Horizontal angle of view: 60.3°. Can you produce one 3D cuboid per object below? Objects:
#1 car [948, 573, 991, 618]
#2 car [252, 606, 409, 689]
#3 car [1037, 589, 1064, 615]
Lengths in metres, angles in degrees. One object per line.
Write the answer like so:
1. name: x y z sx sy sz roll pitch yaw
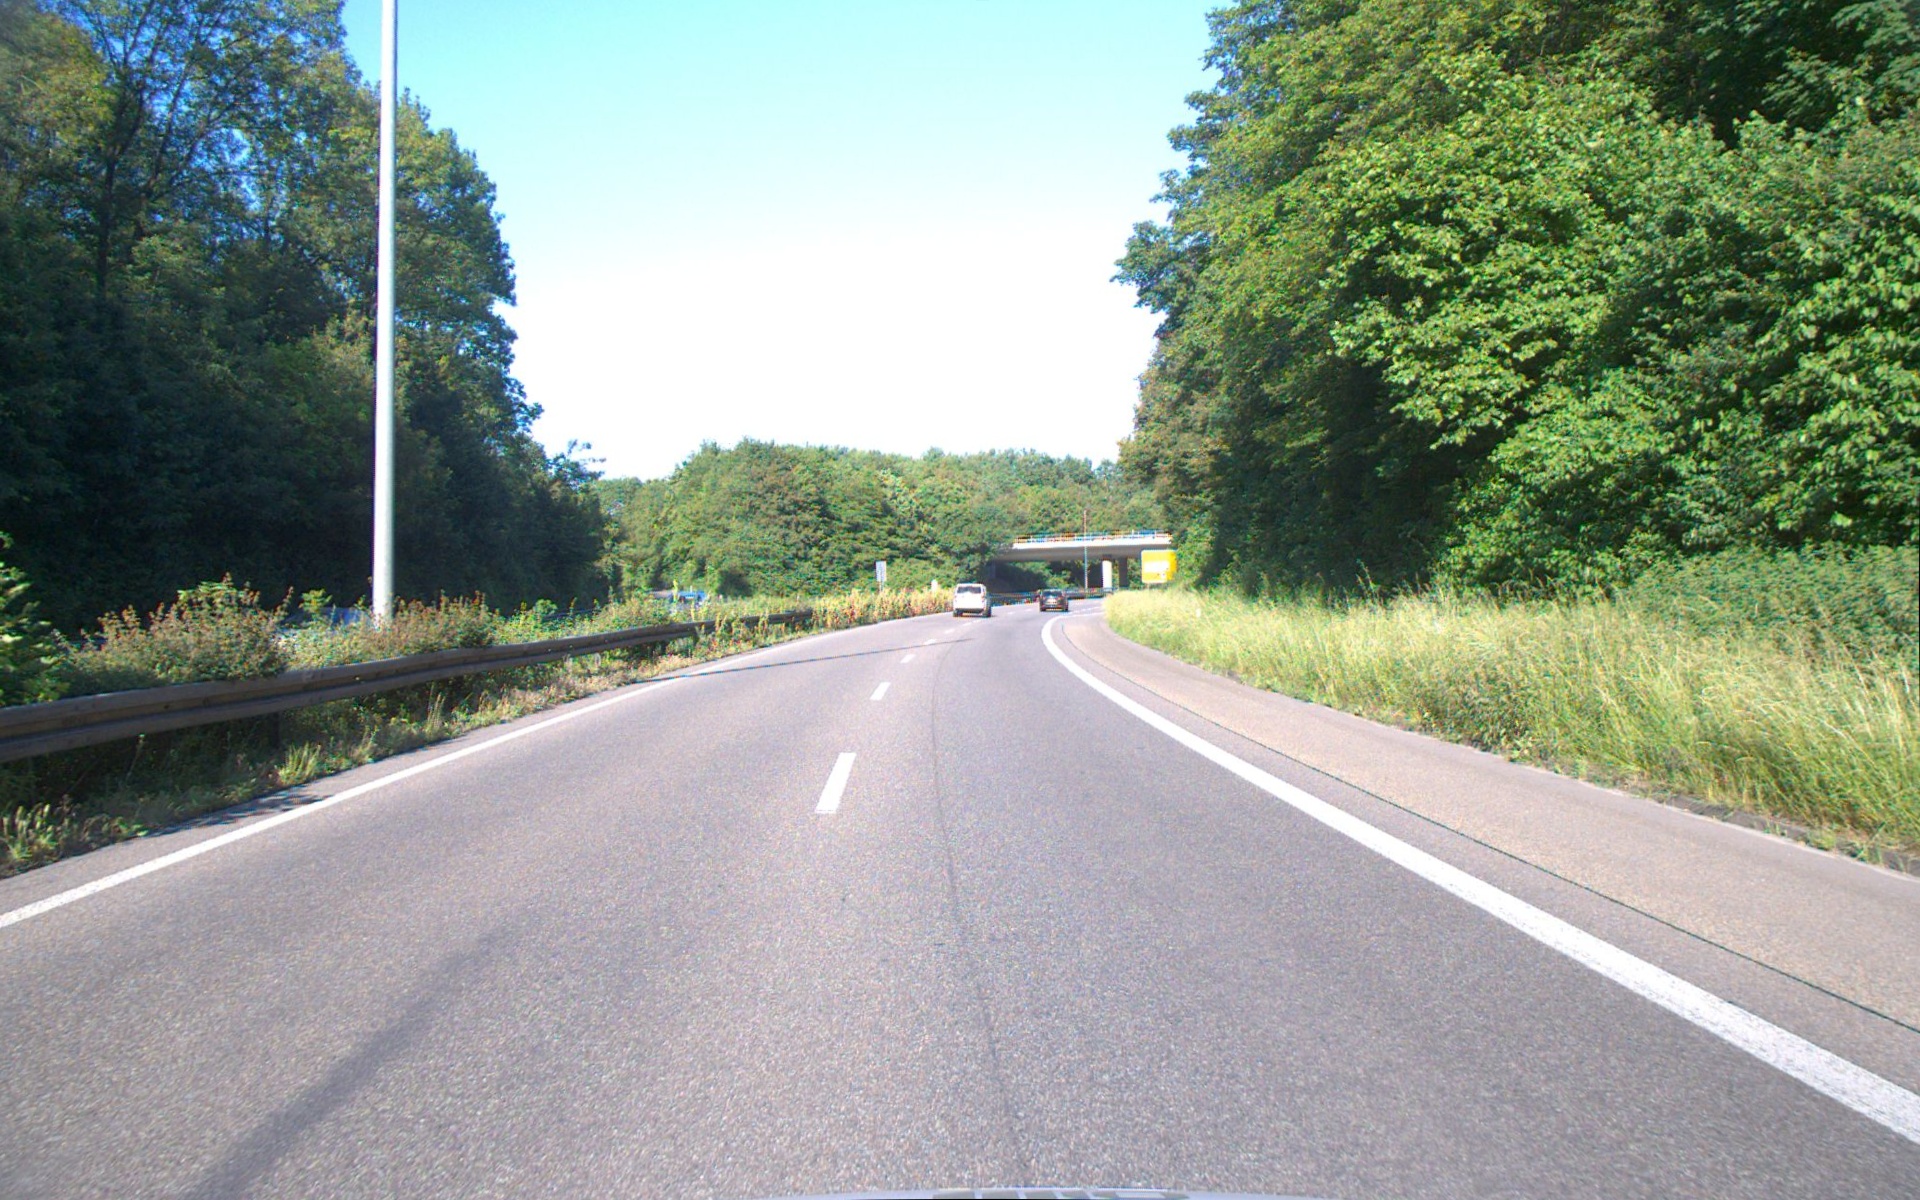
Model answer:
1. car: 0.535 -0.253 89.728 1.951 2.317 4.003 -1 0 5
2. car: -14.591 1.054 38.591 1.952 1.816 4.295 1 0 1
3. car: 6.157 0.129 112.382 1.702 1.691 3.948 -1 0 5
